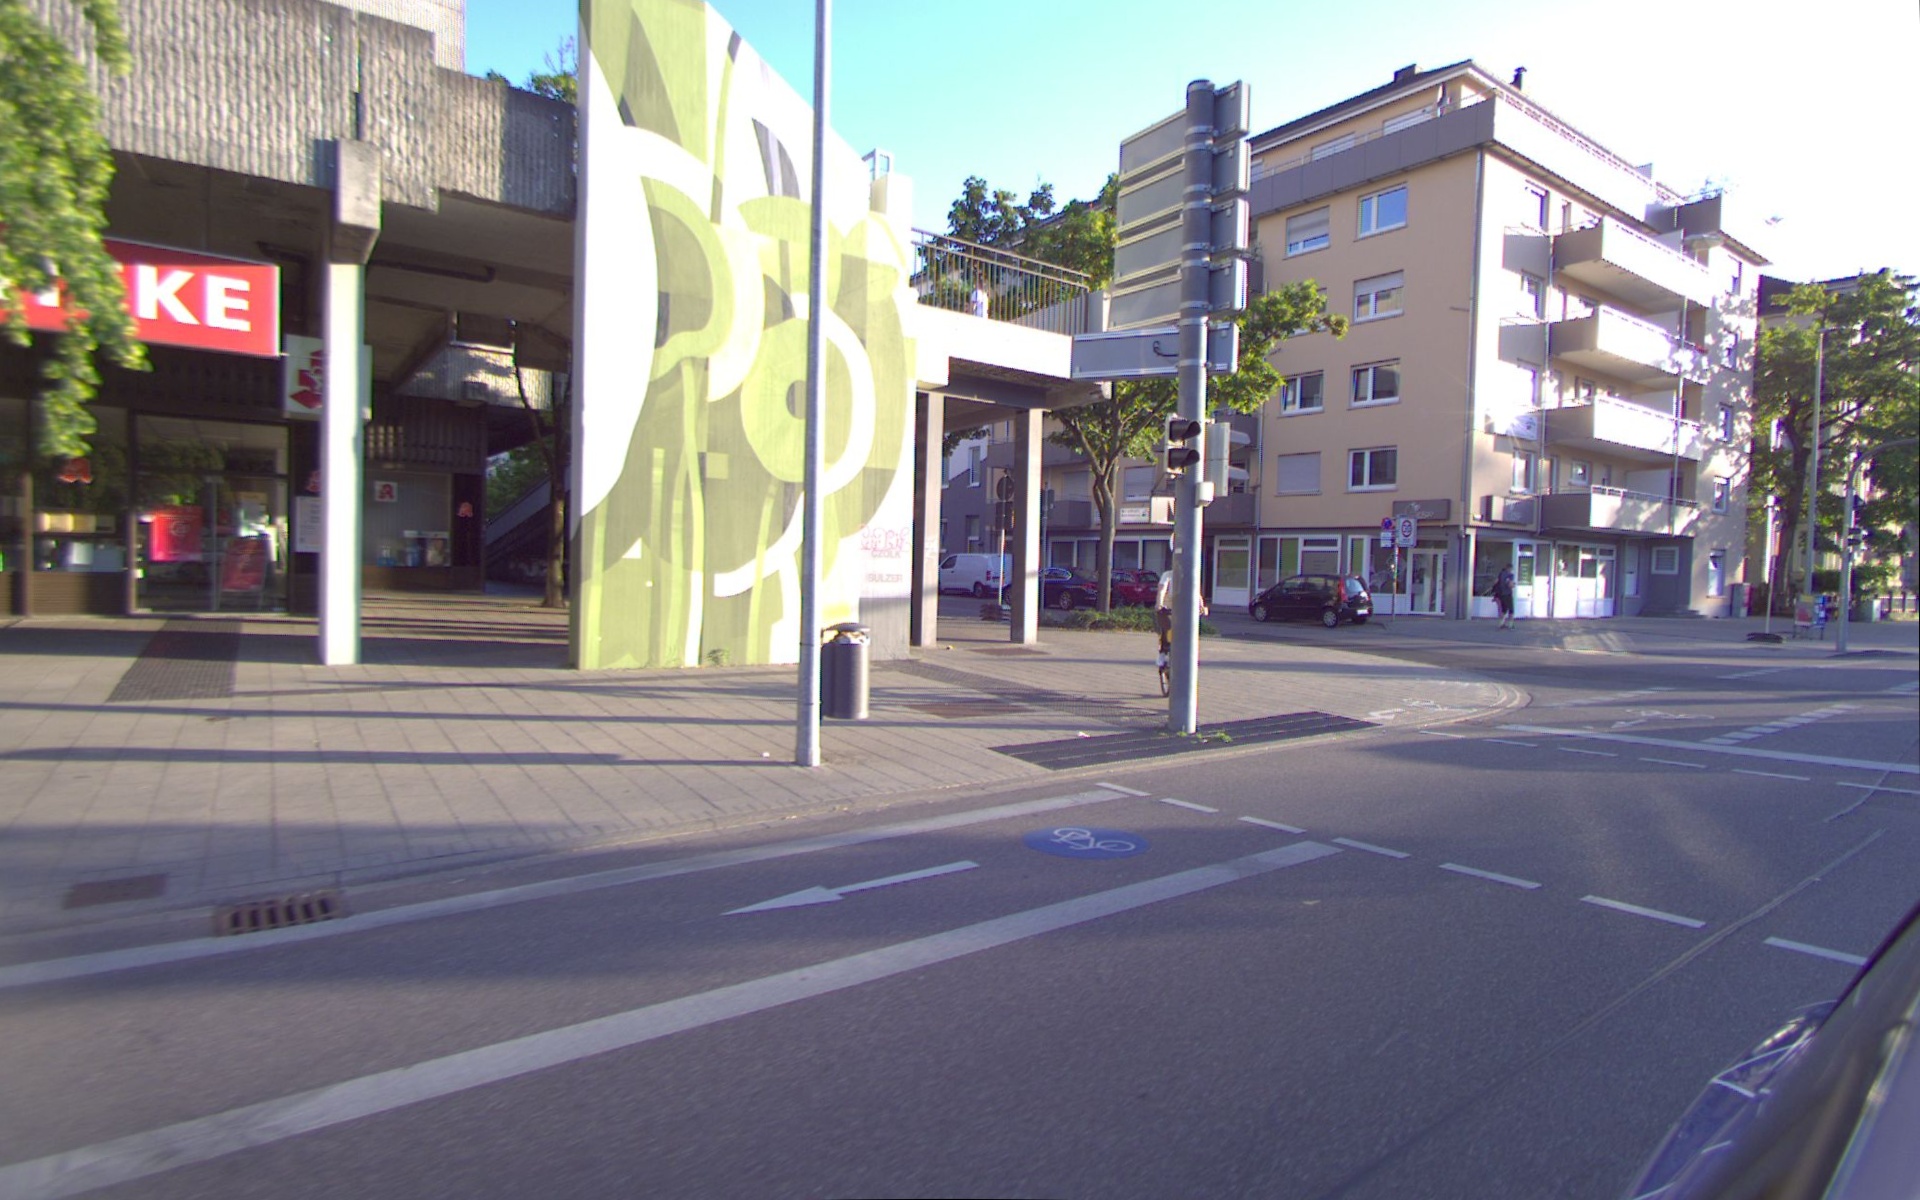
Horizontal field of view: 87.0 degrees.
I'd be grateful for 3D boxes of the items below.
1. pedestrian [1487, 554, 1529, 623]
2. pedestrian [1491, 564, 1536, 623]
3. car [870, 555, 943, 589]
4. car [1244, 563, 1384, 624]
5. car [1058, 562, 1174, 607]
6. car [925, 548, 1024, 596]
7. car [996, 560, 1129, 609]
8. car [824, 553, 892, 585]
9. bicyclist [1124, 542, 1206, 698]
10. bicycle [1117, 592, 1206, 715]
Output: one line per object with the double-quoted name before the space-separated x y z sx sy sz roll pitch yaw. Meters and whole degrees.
"pedestrian" 15.248 -0.330 28.167 0.534 1.882 0.840 -1 3 -36
"pedestrian" 15.700 -0.200 28.705 0.752 1.634 0.822 -1 3 -35
"car" -2.615 -1.373 49.046 1.576 1.504 4.000 -1 4 -37
"car" 10.643 -0.245 30.666 1.585 1.578 3.817 -4 5 -35
"car" 5.748 -0.635 37.696 1.628 1.457 4.224 -5 6 -40
"car" 0.577 -1.290 44.673 1.964 1.886 4.540 -5 6 -37
"car" 3.464 -0.573 34.966 1.774 1.488 4.619 2 1 -39
"car" -5.339 -1.637 52.618 1.576 1.504 4.250 -1 4 -37
"bicyclist" 2.413 0.199 11.842 0.808 1.712 0.956 3 3 16
"bicycle" 2.395 0.558 11.841 0.808 1.187 2.138 3 3 16
